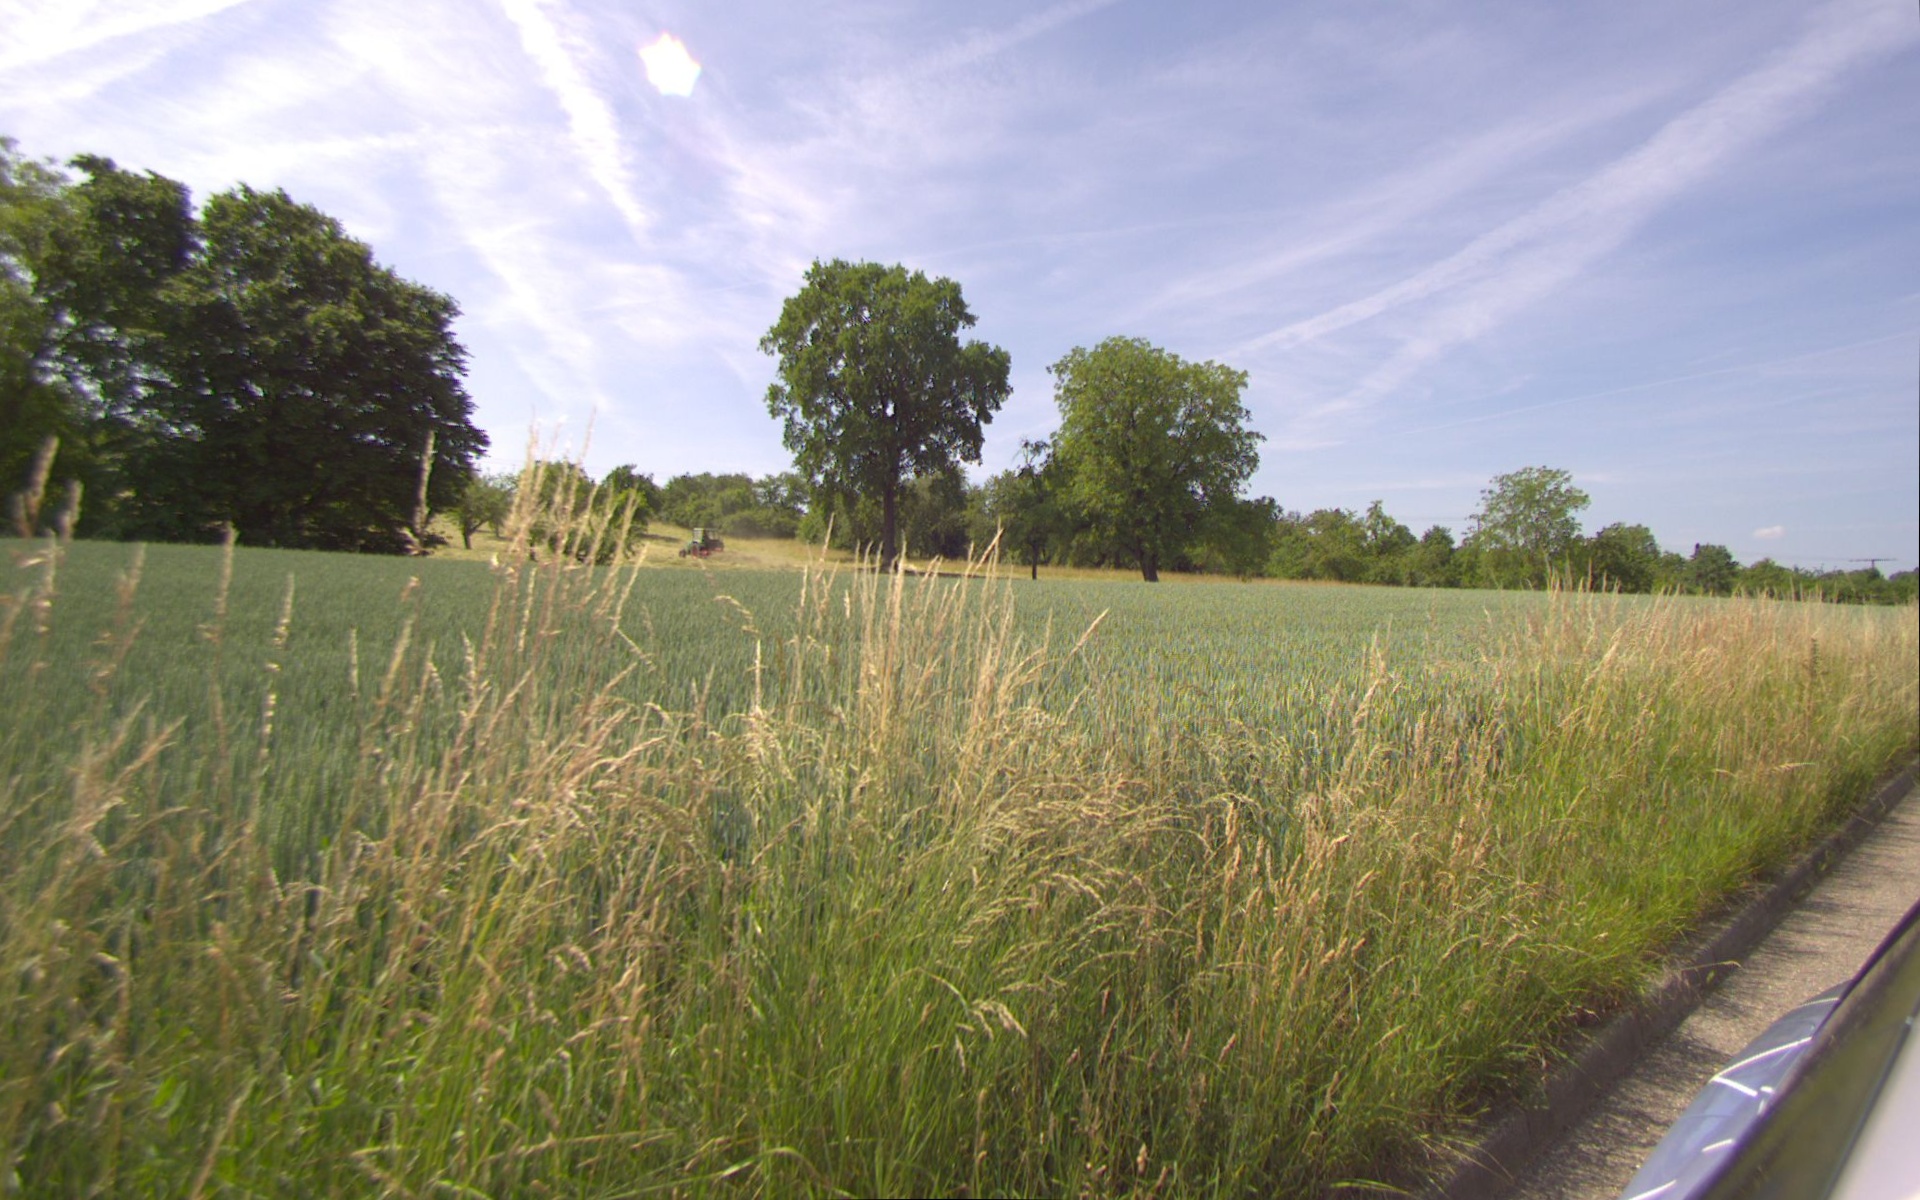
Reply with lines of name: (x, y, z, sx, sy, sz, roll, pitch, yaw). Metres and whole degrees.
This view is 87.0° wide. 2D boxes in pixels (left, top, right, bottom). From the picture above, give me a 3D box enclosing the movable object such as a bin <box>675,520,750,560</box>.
movable object such as a bin: (-16.793, -4.113, 68.386, 2.401, 2.398, 6.576, 0, 4, -38)
